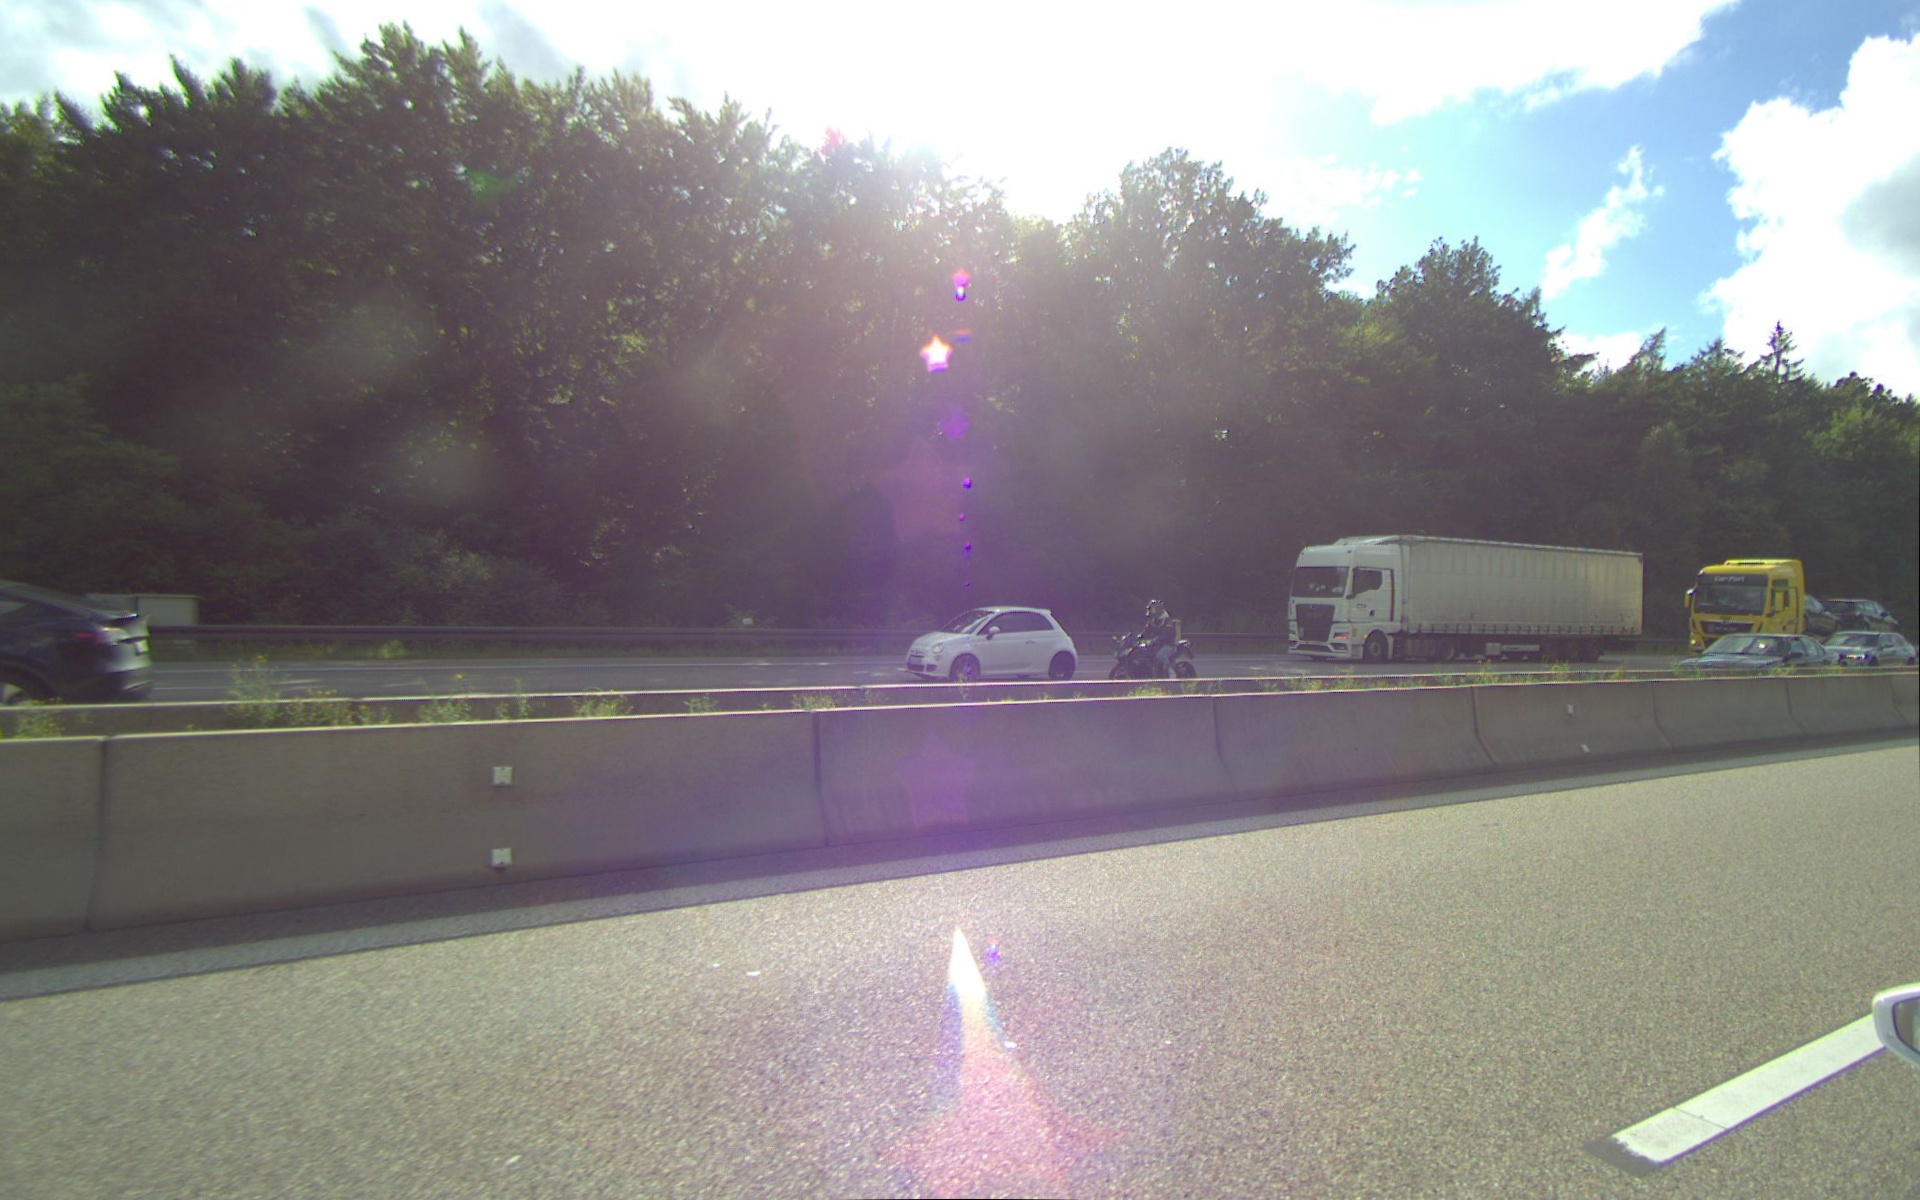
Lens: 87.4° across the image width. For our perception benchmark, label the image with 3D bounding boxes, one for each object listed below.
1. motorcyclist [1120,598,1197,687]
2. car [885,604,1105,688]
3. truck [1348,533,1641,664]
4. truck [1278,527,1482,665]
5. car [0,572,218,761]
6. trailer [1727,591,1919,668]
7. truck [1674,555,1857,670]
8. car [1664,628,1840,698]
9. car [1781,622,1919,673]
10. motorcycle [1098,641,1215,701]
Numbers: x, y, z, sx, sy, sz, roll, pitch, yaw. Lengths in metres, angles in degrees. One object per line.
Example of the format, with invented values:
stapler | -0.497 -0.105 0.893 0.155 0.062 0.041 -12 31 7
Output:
motorcyclist | 3.451 0.719 17.488 1.063 1.496 0.750 1 0 -31
car | 0.726 0.893 20.299 4.079 1.518 1.839 2 0 -29
truck | 19.473 0.090 36.071 12.929 4.123 2.695 1 0 -29
truck | 13.801 -0.053 32.913 6.518 4.123 2.695 1 0 -29
car | -9.976 0.578 9.428 4.626 1.709 1.983 1 0 -31
trailer | 35.452 1.189 40.098 13.151 2.756 2.764 1 0 -30
truck | 29.485 0.481 36.697 7.048 3.861 2.764 1 0 -29
car | 16.887 1.285 21.367 4.152 1.324 1.674 1 0 -33
car | 28.718 1.493 32.322 4.925 1.506 1.984 1 0 -31
motorcycle | 3.441 1.216 17.463 2.225 0.969 0.480 1 0 -30
